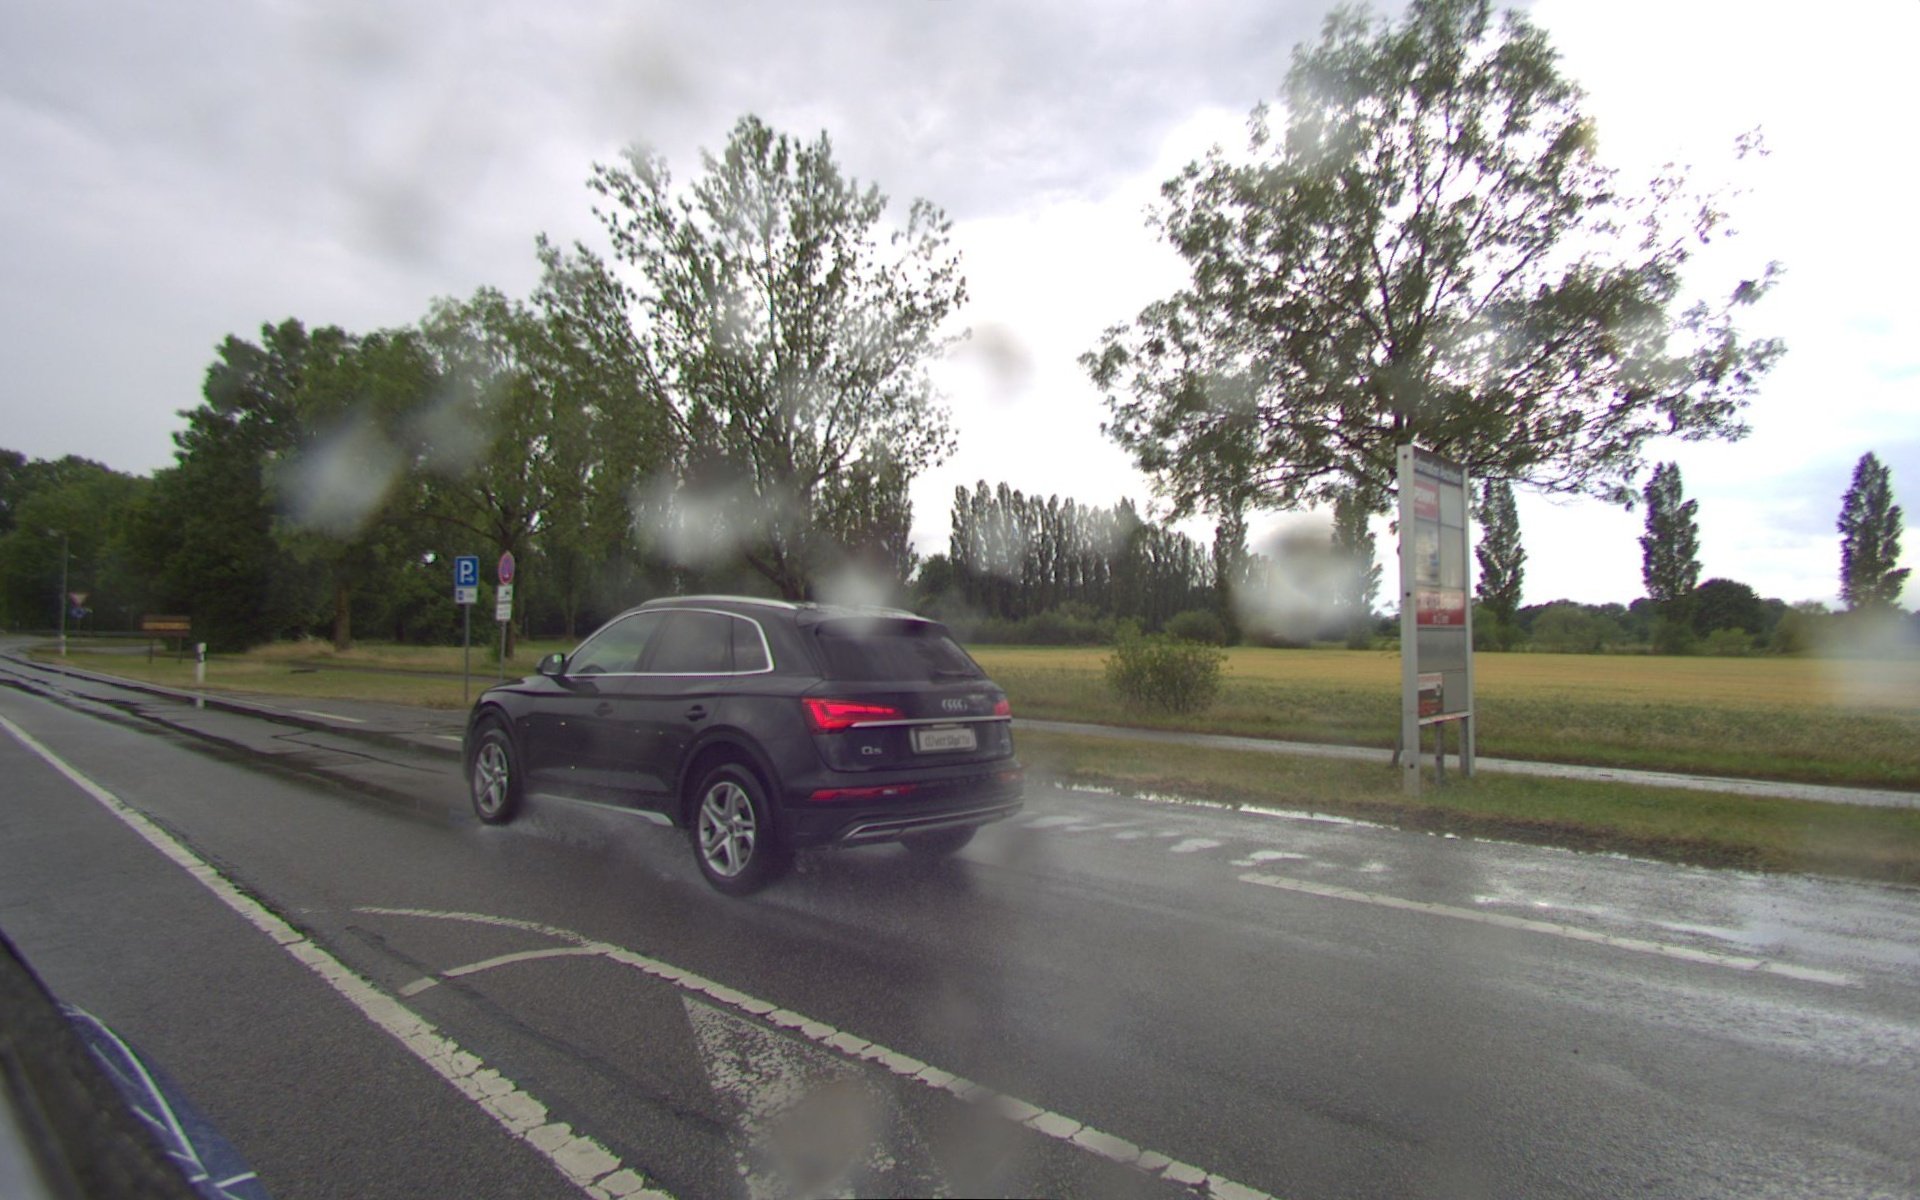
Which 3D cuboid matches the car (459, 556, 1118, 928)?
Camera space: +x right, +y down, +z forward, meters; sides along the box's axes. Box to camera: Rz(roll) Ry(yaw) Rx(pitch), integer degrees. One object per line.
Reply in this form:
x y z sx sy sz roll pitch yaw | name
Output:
-1.346 0.724 6.661 4.355 1.644 1.896 -1 -5 41 | car
